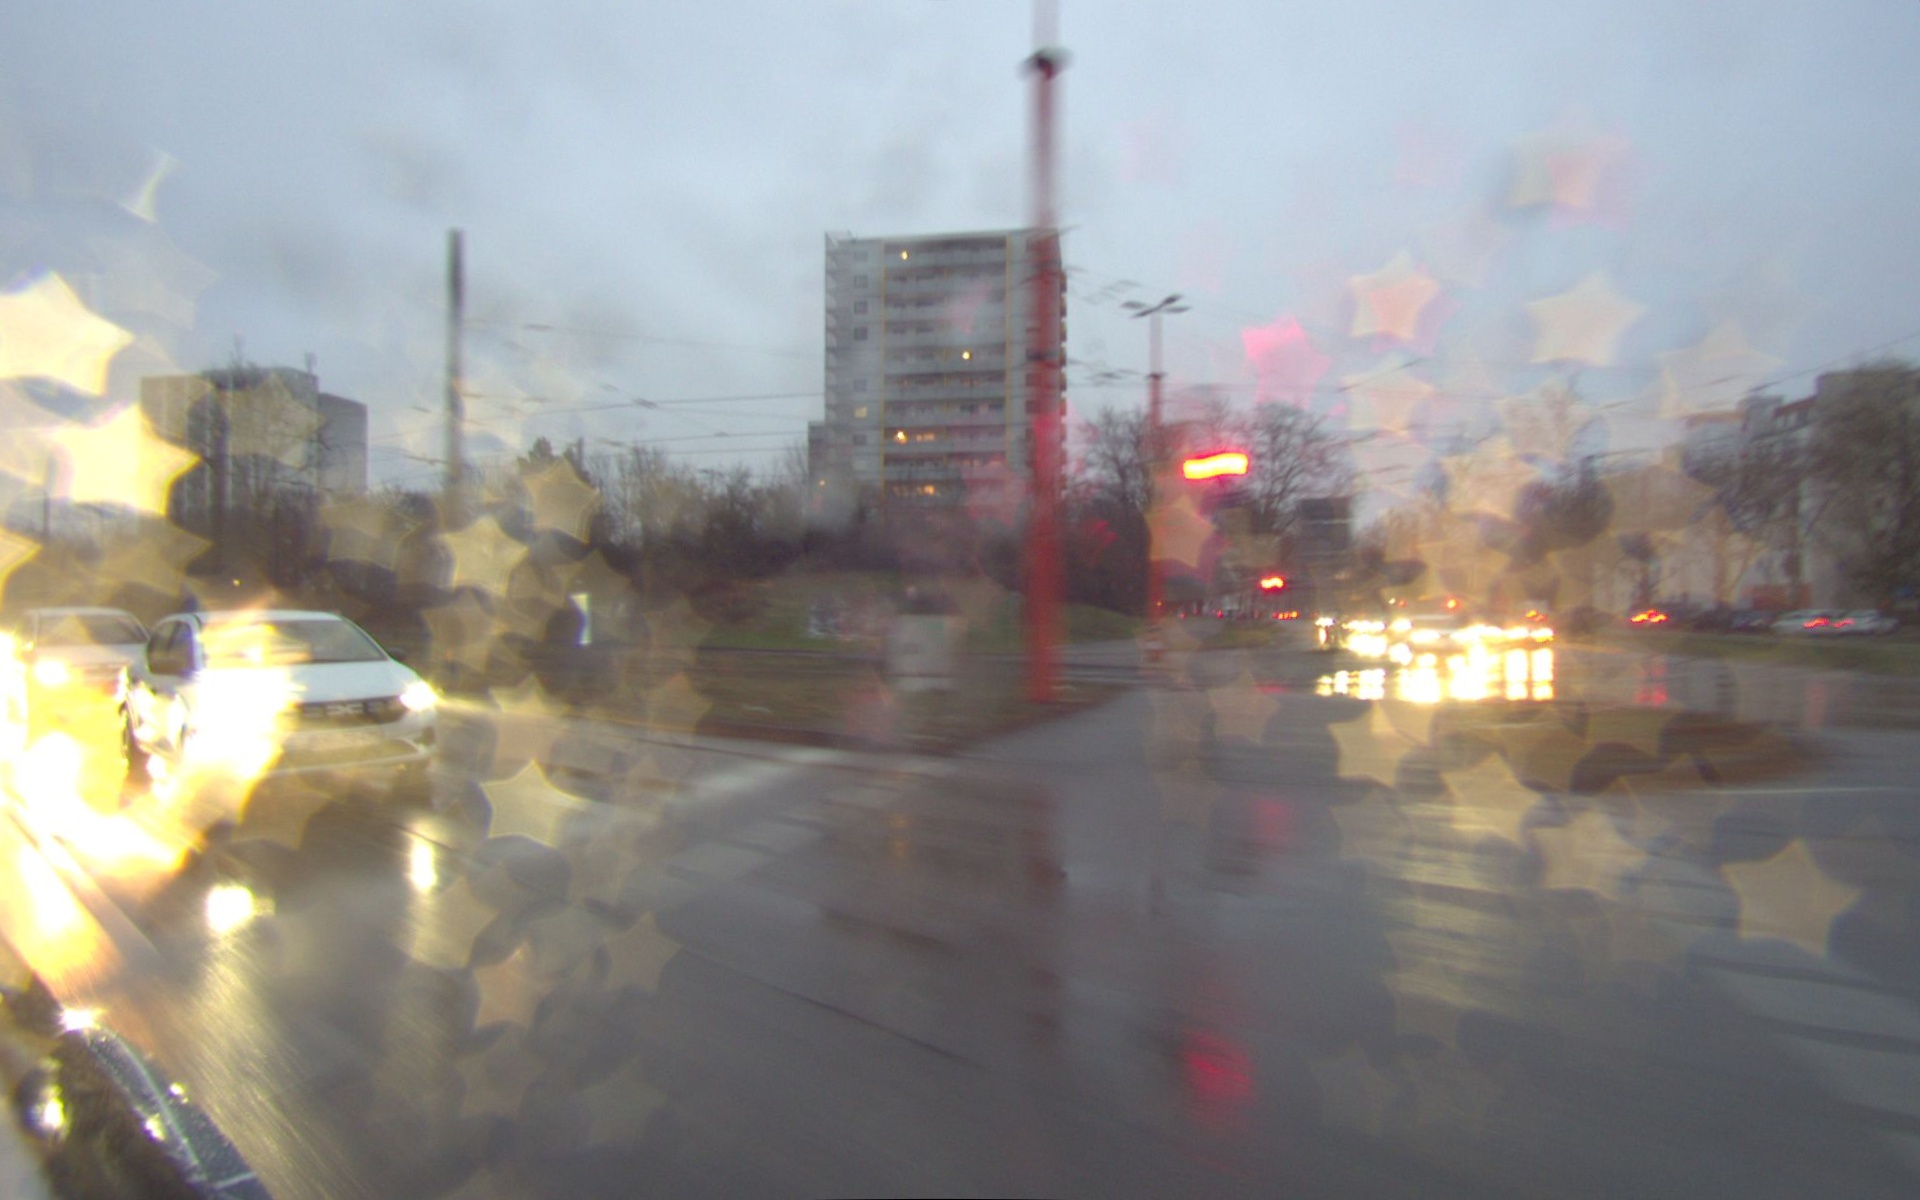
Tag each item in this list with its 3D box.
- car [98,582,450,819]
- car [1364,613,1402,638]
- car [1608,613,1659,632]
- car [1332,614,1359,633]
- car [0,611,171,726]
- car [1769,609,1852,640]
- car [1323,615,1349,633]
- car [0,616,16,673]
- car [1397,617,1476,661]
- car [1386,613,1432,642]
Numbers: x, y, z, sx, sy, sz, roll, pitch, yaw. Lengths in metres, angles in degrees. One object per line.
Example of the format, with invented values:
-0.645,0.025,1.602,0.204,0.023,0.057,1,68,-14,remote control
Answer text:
-6.322,0.750,9.136,4.146,1.660,1.695,-1,-2,42,car
27.657,1.680,66.303,1.696,1.556,3.981,-1,-2,14,car
52.592,1.746,79.148,1.756,1.397,3.988,-1,-1,9,car
32.149,1.944,84.464,1.696,1.556,3.962,-1,-2,14,car
-14.021,0.994,16.044,4.189,1.551,1.672,-1,0,42,car
46.557,1.359,55.489,1.519,1.652,3.990,-1,-1,8,car
33.900,2.187,91.292,1.696,1.556,3.962,-1,-2,14,car
-29.458,1.304,29.846,4.122,1.612,1.928,-1,-1,41,car
17.880,1.437,38.161,1.834,1.556,4.419,-1,-2,14,car
25.336,1.543,57.222,1.696,1.556,3.981,-1,-2,14,car
